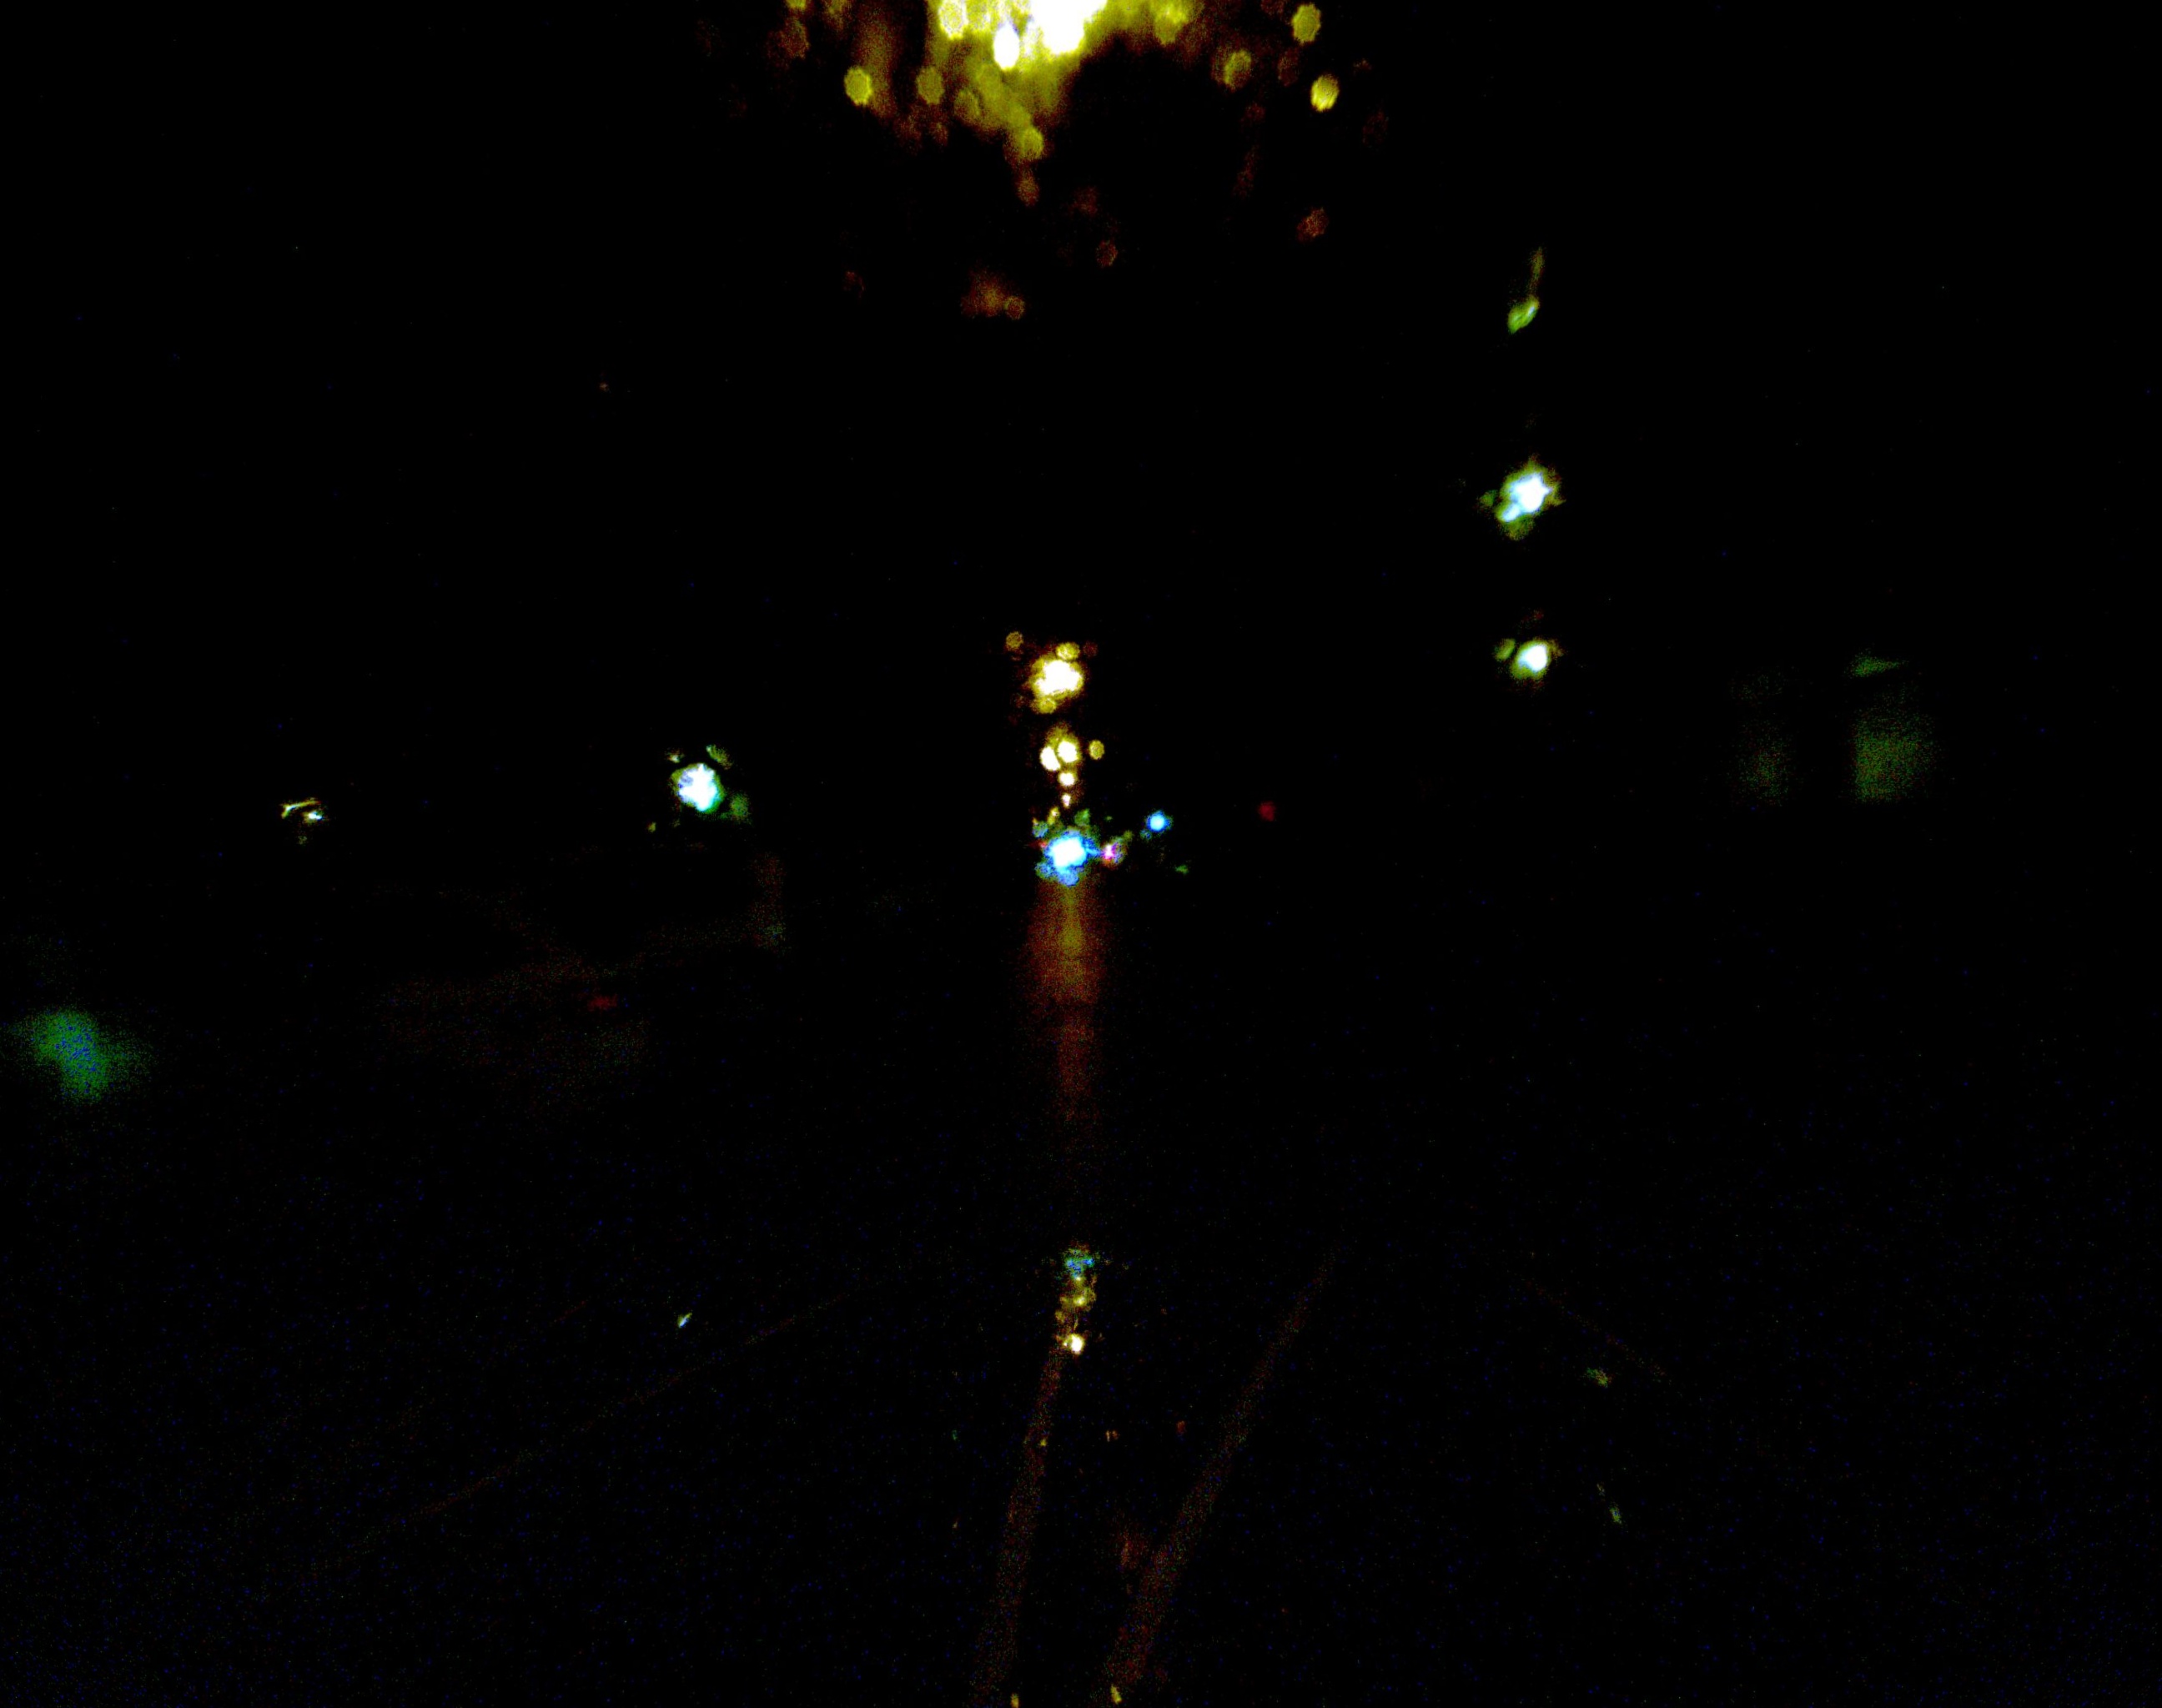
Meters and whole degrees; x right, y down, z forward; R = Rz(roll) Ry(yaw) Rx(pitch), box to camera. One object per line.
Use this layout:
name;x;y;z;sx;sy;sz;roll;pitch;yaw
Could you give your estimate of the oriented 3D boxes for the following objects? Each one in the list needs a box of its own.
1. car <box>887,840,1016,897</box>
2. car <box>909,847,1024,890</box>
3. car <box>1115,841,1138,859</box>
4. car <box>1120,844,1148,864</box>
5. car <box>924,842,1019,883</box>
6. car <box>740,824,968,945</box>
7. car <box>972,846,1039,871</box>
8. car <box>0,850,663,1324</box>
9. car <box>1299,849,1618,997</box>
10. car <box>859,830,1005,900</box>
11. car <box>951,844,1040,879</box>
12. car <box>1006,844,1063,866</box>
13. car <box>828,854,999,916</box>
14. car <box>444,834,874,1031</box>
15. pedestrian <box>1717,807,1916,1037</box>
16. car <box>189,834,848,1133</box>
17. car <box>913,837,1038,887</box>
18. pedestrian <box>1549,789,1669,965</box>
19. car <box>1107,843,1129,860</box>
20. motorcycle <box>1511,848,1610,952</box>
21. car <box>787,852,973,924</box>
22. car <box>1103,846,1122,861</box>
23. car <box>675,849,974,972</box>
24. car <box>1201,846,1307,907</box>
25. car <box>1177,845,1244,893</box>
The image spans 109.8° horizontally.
car;-4.352;0.459;25.856;3.942;1.782;1.738;1;1;-38
car;-4.326;0.540;28.862;3.942;1.541;1.738;1;1;-34
car;4.191;-0.351;70.803;1.852;1.571;3.734;-2;1;-1
car;4.101;-0.015;59.125;1.852;1.470;3.734;-2;1;-1
car;-4.961;0.381;34.526;3.939;1.732;1.707;1;1;-23
car;-4.243;0.517;14.392;3.747;2.017;1.717;1;1;-36
car;-4.849;0.294;48.727;3.939;1.455;1.707;1;1;-24
car;-4.230;0.789;3.239;4.270;1.564;1.767;1;1;-29
car;4.651;0.706;10.412;1.851;1.470;5.029;-1;1;0
car;-4.471;0.319;23.034;3.942;1.931;1.738;1;1;-38
car;-4.170;0.366;36.917;3.939;1.610;1.707;1;1;-23
car;-3.549;0.074;57.956;3.939;1.553;1.707;1;1;-24
car;-4.363;0.736;20.063;4.064;1.444;1.674;-1;1;-36
car;-4.452;0.688;8.378;3.801;1.702;1.744;1;1;-35
pedestrian;6.328;0.539;6.607;0.676;1.822;1.078;-2;1;1
car;-4.038;0.749;6.116;3.747;1.702;1.767;1;1;-35
car;-4.368;0.328;31.646;4.720;1.969;1.974;1;1;-30
pedestrian;7.027;0.283;10.183;0.801;2.228;1.116;0;1;-2
car;3.696;-0.279;76.091;1.852;1.571;3.734;-2;1;-1
motorcycle;7.252;0.649;11.565;0.538;1.462;1.457;-2;1;-1
car;-4.481;0.716;17.071;3.712;1.444;1.654;1;1;-32
car;3.500;-0.086;84.100;1.852;1.571;3.734;-2;1;-1
car;-3.912;0.762;11.667;4.079;1.588;1.829;1;1;-28
car;4.625;0.524;20.911;1.721;1.470;4.158;-1;1;-4
car;4.379;0.458;26.157;1.720;1.470;3.785;-2;1;1
